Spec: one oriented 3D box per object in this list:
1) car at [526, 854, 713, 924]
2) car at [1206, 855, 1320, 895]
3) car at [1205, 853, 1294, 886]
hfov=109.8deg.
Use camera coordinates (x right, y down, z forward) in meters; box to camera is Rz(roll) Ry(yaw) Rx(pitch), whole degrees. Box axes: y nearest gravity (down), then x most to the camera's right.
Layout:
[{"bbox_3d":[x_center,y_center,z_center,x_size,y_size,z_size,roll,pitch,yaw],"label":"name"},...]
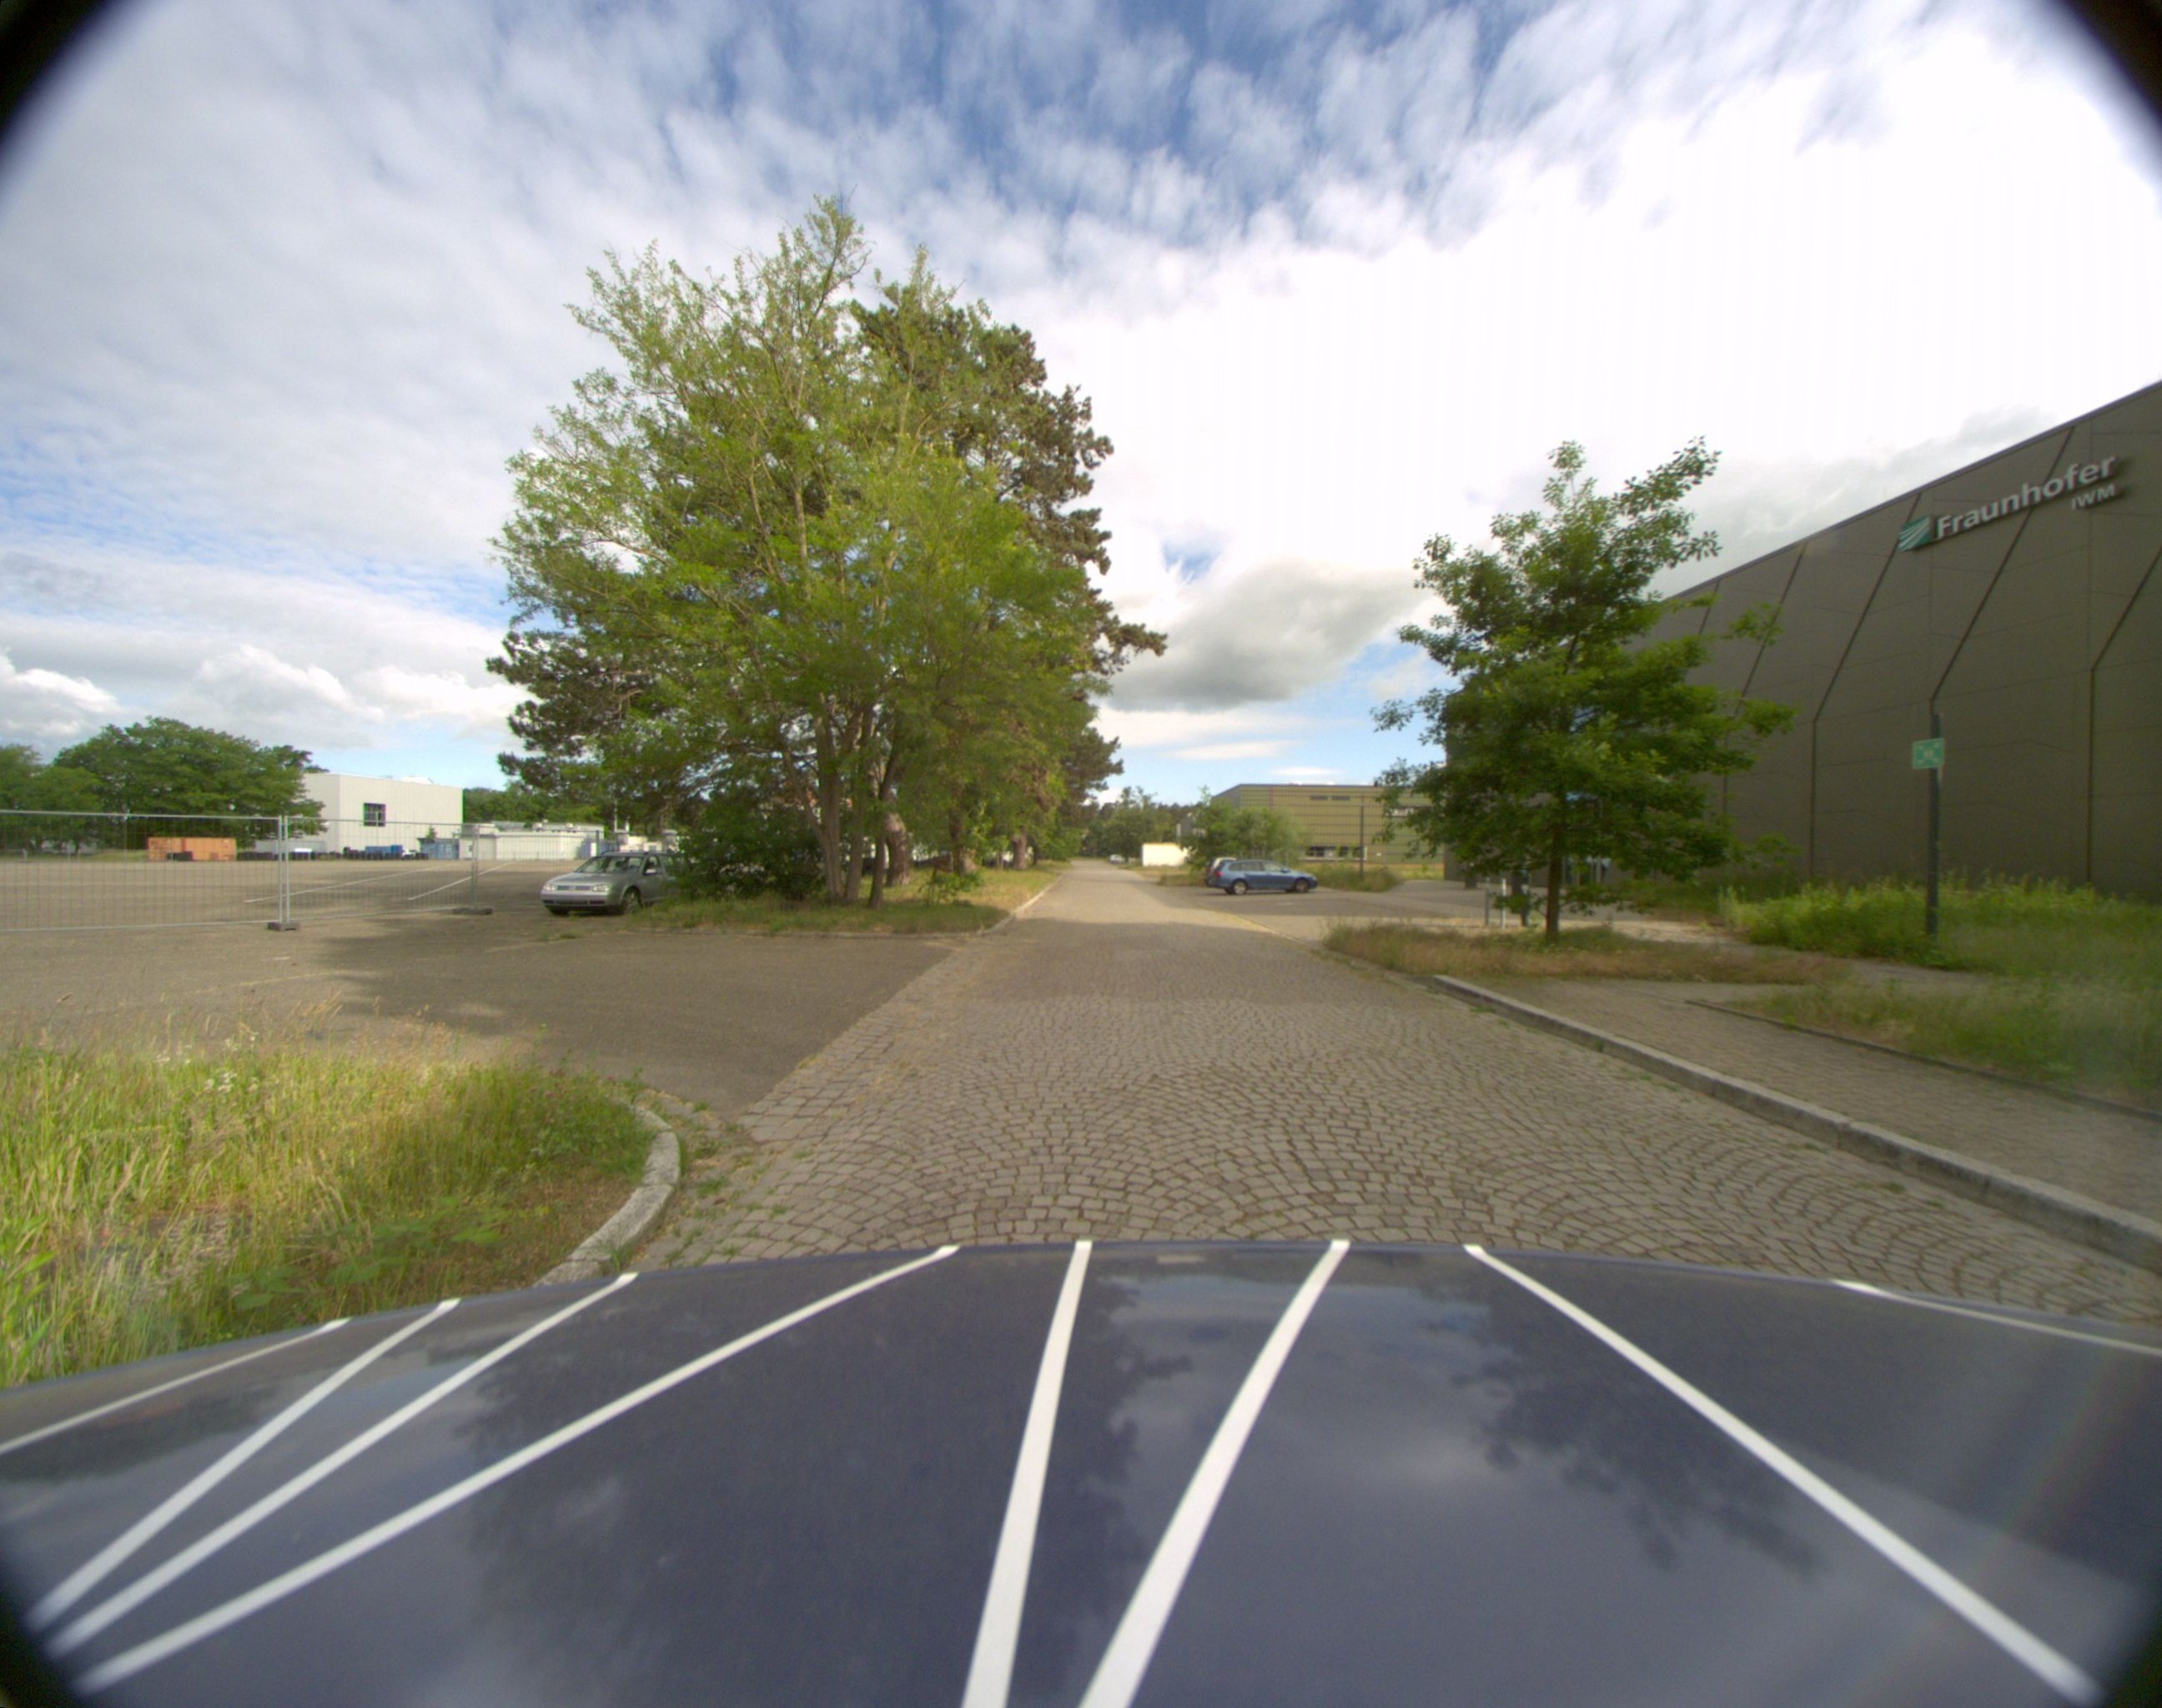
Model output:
[{"bbox_3d":[-10.811,0.737,18.213,1.759,1.440,4.327,1,0,1],"label":"car"},{"bbox_3d":[7.744,0.862,32.582,4.404,1.501,1.716,-2,1,-2],"label":"car"},{"bbox_3d":[8.768,0.810,39.892,4.401,1.537,1.842,-2,0,7],"label":"car"}]
